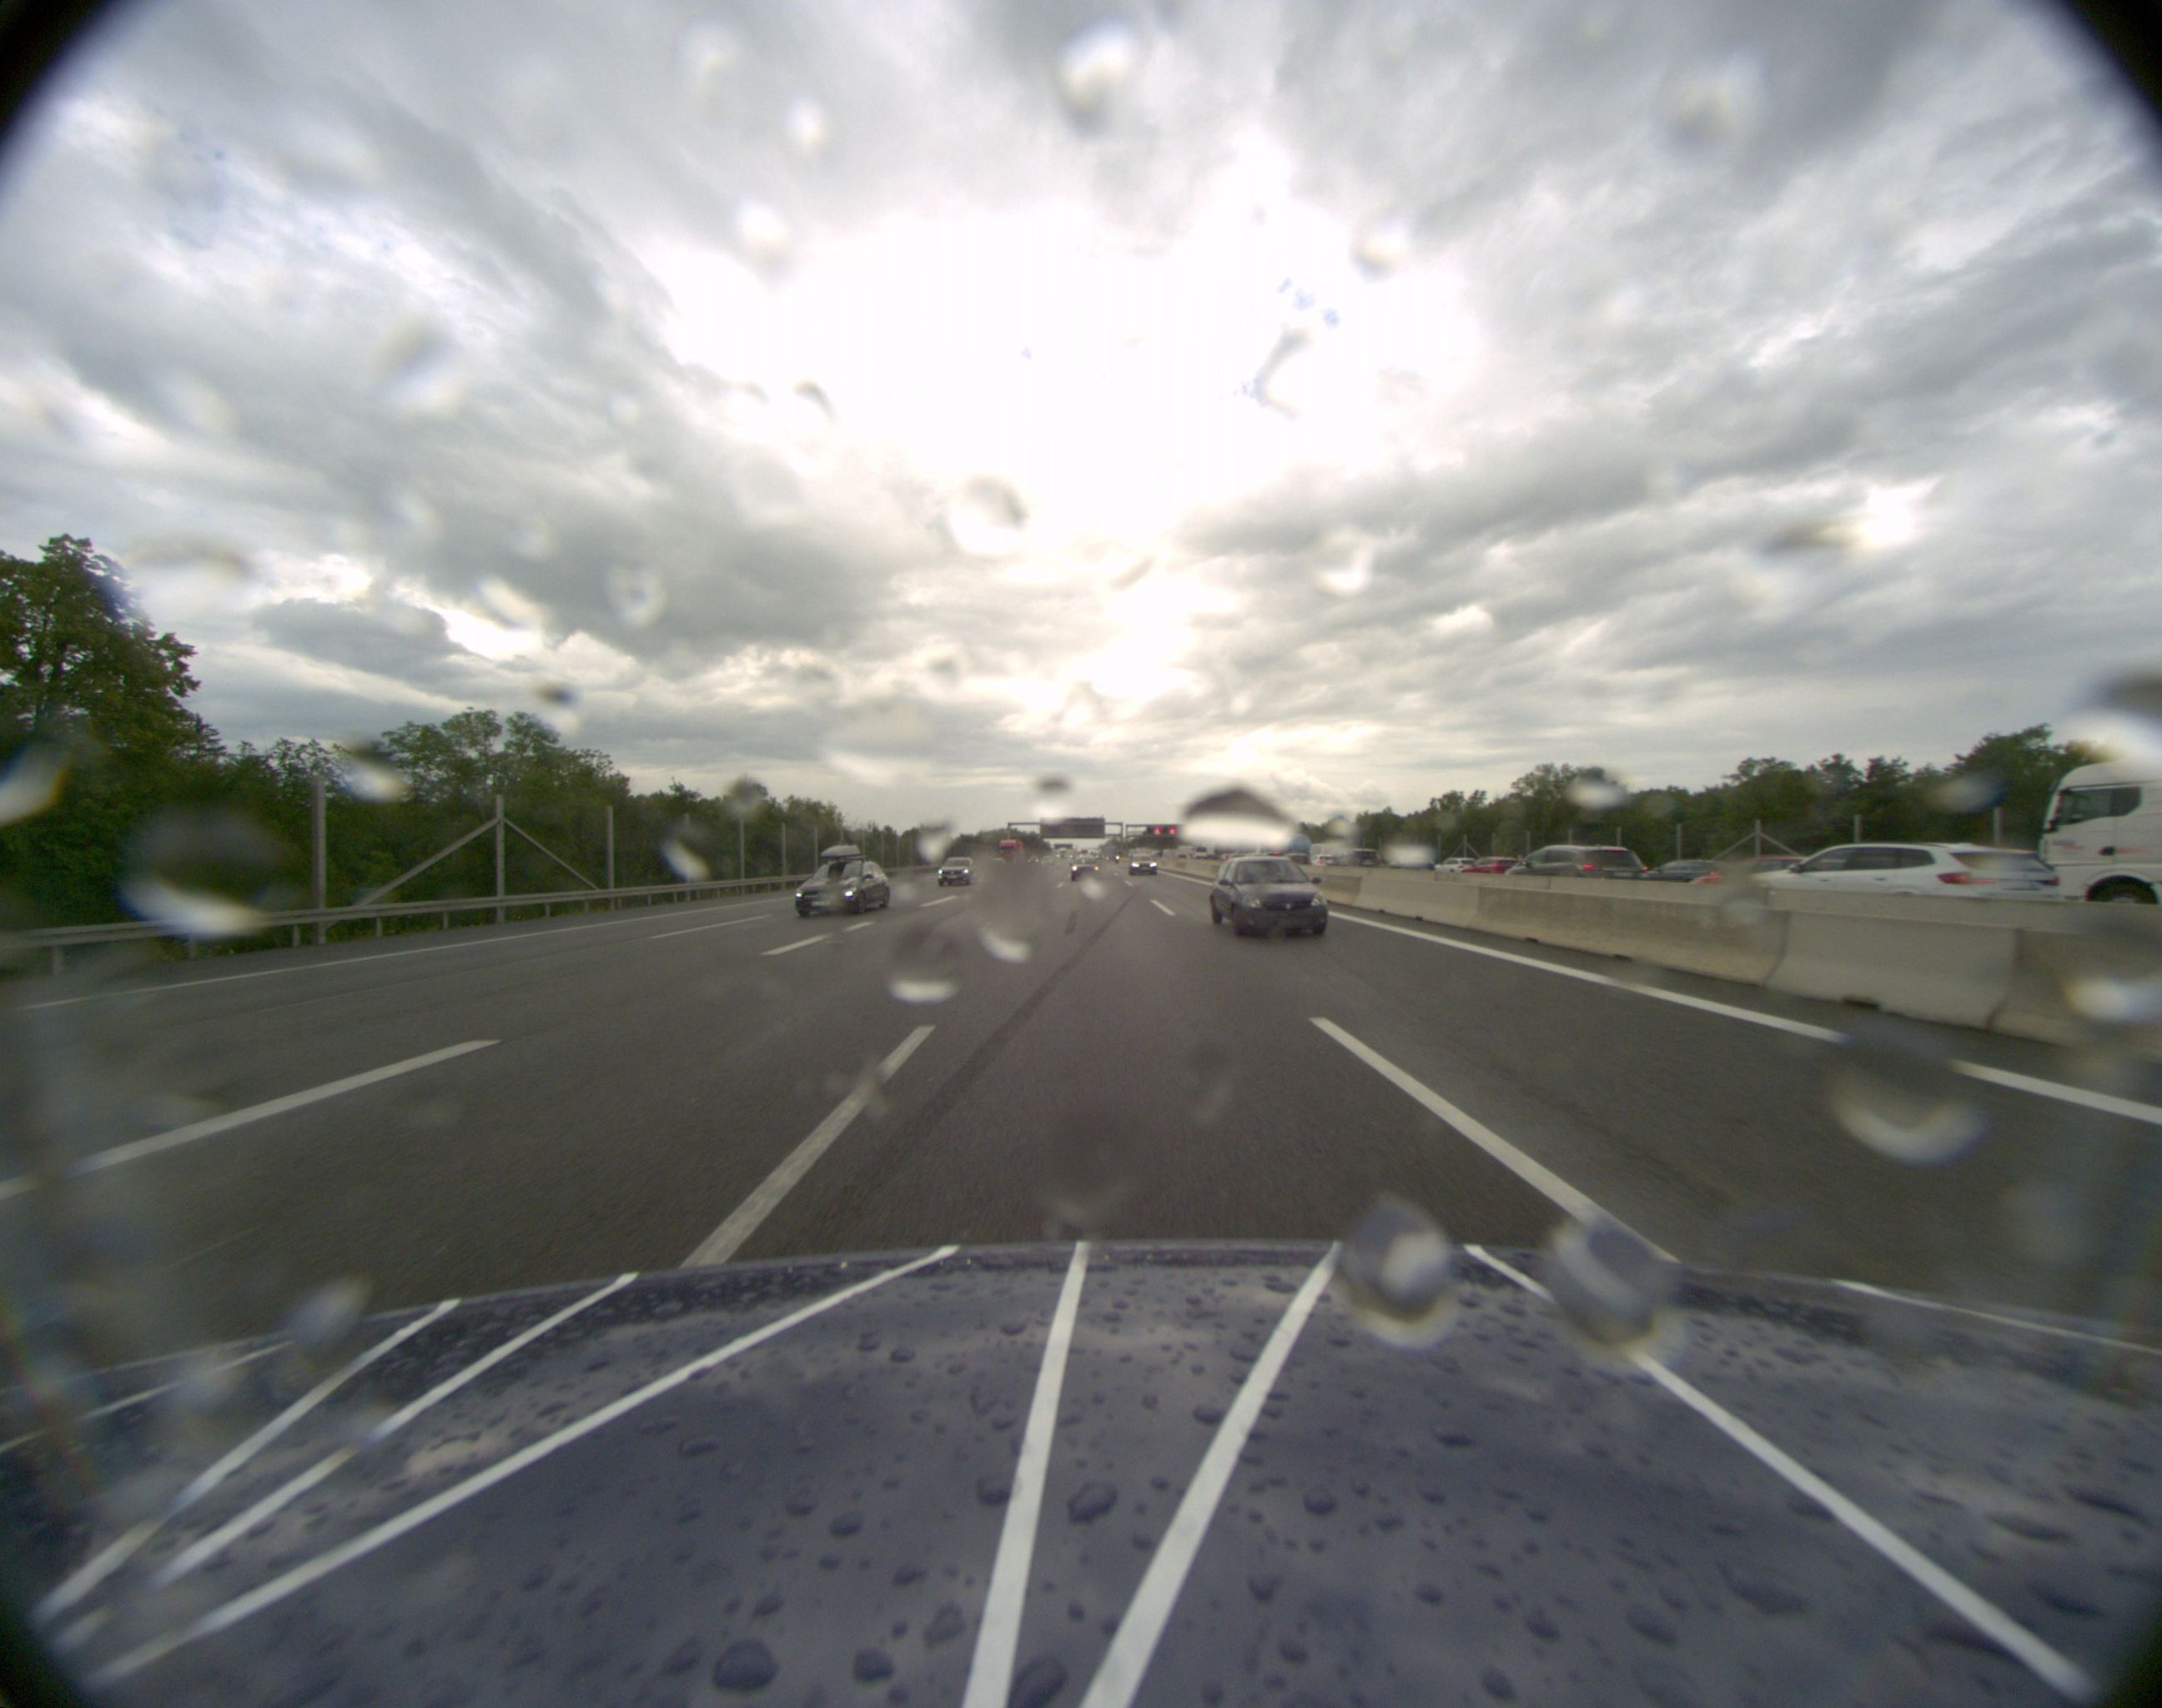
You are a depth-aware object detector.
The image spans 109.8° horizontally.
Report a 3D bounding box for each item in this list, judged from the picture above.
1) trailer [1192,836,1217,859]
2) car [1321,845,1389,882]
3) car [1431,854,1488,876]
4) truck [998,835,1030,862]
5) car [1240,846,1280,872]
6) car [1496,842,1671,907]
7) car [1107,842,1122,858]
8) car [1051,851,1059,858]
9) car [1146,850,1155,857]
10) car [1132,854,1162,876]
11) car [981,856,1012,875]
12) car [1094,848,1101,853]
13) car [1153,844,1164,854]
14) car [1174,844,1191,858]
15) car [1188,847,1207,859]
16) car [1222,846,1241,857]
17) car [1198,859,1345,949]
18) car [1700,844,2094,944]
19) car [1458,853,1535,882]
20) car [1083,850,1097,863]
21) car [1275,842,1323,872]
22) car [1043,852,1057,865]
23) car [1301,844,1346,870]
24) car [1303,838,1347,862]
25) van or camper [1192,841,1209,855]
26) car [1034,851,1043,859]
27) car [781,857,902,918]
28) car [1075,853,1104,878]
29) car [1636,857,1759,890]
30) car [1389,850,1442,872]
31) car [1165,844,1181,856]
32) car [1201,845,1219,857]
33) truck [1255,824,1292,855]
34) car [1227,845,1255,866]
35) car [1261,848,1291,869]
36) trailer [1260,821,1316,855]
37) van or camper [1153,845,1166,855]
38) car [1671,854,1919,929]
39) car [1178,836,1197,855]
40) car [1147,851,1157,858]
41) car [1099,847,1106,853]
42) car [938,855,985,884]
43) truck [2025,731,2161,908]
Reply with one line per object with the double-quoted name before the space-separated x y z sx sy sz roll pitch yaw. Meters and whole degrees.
"trailer" 27.475 -1.408 169.624 3.155 4.828 13.294 -2 0 -1
"car" 14.223 0.455 39.726 1.874 1.749 4.706 -2 0 1
"car" 26.886 0.750 54.118 2.121 1.443 4.000 -2 0 1
"truck" -10.461 -0.824 120.421 3.160 3.980 15.638 -1 0 1
"car" 14.689 0.390 62.594 2.121 1.926 5.215 -2 0 1
"car" 14.334 0.528 22.090 1.899 1.614 4.845 -2 0 1
"car" 5.125 -0.632 118.110 1.999 2.354 4.171 -2 0 -1
"car" -6.654 0.175 194.896 1.998 1.565 4.000 -2 0 1
"car" 16.542 -0.072 182.129 1.762 1.489 4.394 -2 0 1
"car" 4.676 0.745 54.337 1.751 1.489 4.015 -1 0 1
"car" -7.098 0.983 64.127 1.898 1.438 4.247 -3 -1 3
"car" 5.256 -1.151 243.319 1.998 1.790 4.898 -2 0 1
"car" 20.870 -1.380 204.501 2.208 2.474 6.065 -1 0 0
"car" 15.161 -0.478 113.502 1.868 1.957 4.805 -2 0 1
"car" 14.950 -0.116 97.986 1.769 1.475 4.972 -1 0 1
"car" 20.546 -0.323 103.828 1.804 1.494 4.351 -1 0 1
"car" 3.535 0.844 15.066 1.781 1.399 5.016 -1 0 2
"car" 14.419 0.603 14.041 1.854 1.468 5.081 -2 0 1
"car" 22.334 0.676 41.030 1.874 1.449 4.141 -2 0 1
"car" 1.365 0.389 113.113 2.133 1.831 4.000 -1 0 1
"car" 14.622 0.187 51.243 2.121 1.926 4.000 -2 0 1
"car" -4.564 0.704 111.184 1.962 1.831 3.999 -1 0 -1
"car" 19.061 0.221 59.971 2.121 1.926 4.426 -2 0 1
"car" 23.312 -0.343 72.950 2.121 2.137 6.618 -2 0 1
"van or camper" 19.983 -0.951 127.667 2.100 2.173 4.971 -2 0 1
"car" -8.772 0.254 157.406 1.820 1.534 4.357 -1 0 -2
"car" -7.077 0.909 23.108 2.110 1.596 5.065 -1 0 -1
"car" 0.563 0.677 46.793 1.668 1.431 4.405 -1 0 2
"car" 25.637 0.778 31.830 1.650 1.201 4.361 -2 0 1
"car" 22.747 0.448 51.797 1.872 1.444 4.000 -2 0 1
"car" 15.270 -0.696 126.391 2.100 1.957 5.631 -2 0 1
"car" 19.453 -0.467 114.810 1.868 1.651 4.426 -2 0 1
"truck" 23.402 -1.701 92.706 2.735 3.493 6.800 -2 0 1
"car" 15.724 0.160 74.780 1.898 1.942 4.212 -2 0 1
"car" 19.185 0.436 74.815 1.898 1.942 4.000 -2 0 1
"trailer" 23.318 -1.681 86.350 2.717 3.505 13.610 -2 0 1
"van or camper" 15.196 -0.783 147.111 1.998 2.002 6.346 -2 0 1
"car" 18.542 0.878 20.170 1.899 1.667 5.000 -2 0 1
"car" 20.173 -1.578 144.623 2.504 3.281 7.627 -2 0 1
"car" 15.401 0.140 164.402 1.646 1.484 4.934 -2 0 1
"car" 6.039 -1.118 216.124 1.998 1.790 4.898 -2 0 1
"car" -6.825 0.853 43.740 1.796 1.553 3.722 -2 0 4
"truck" 22.208 -0.705 13.391 3.051 3.386 6.528 -2 0 1
